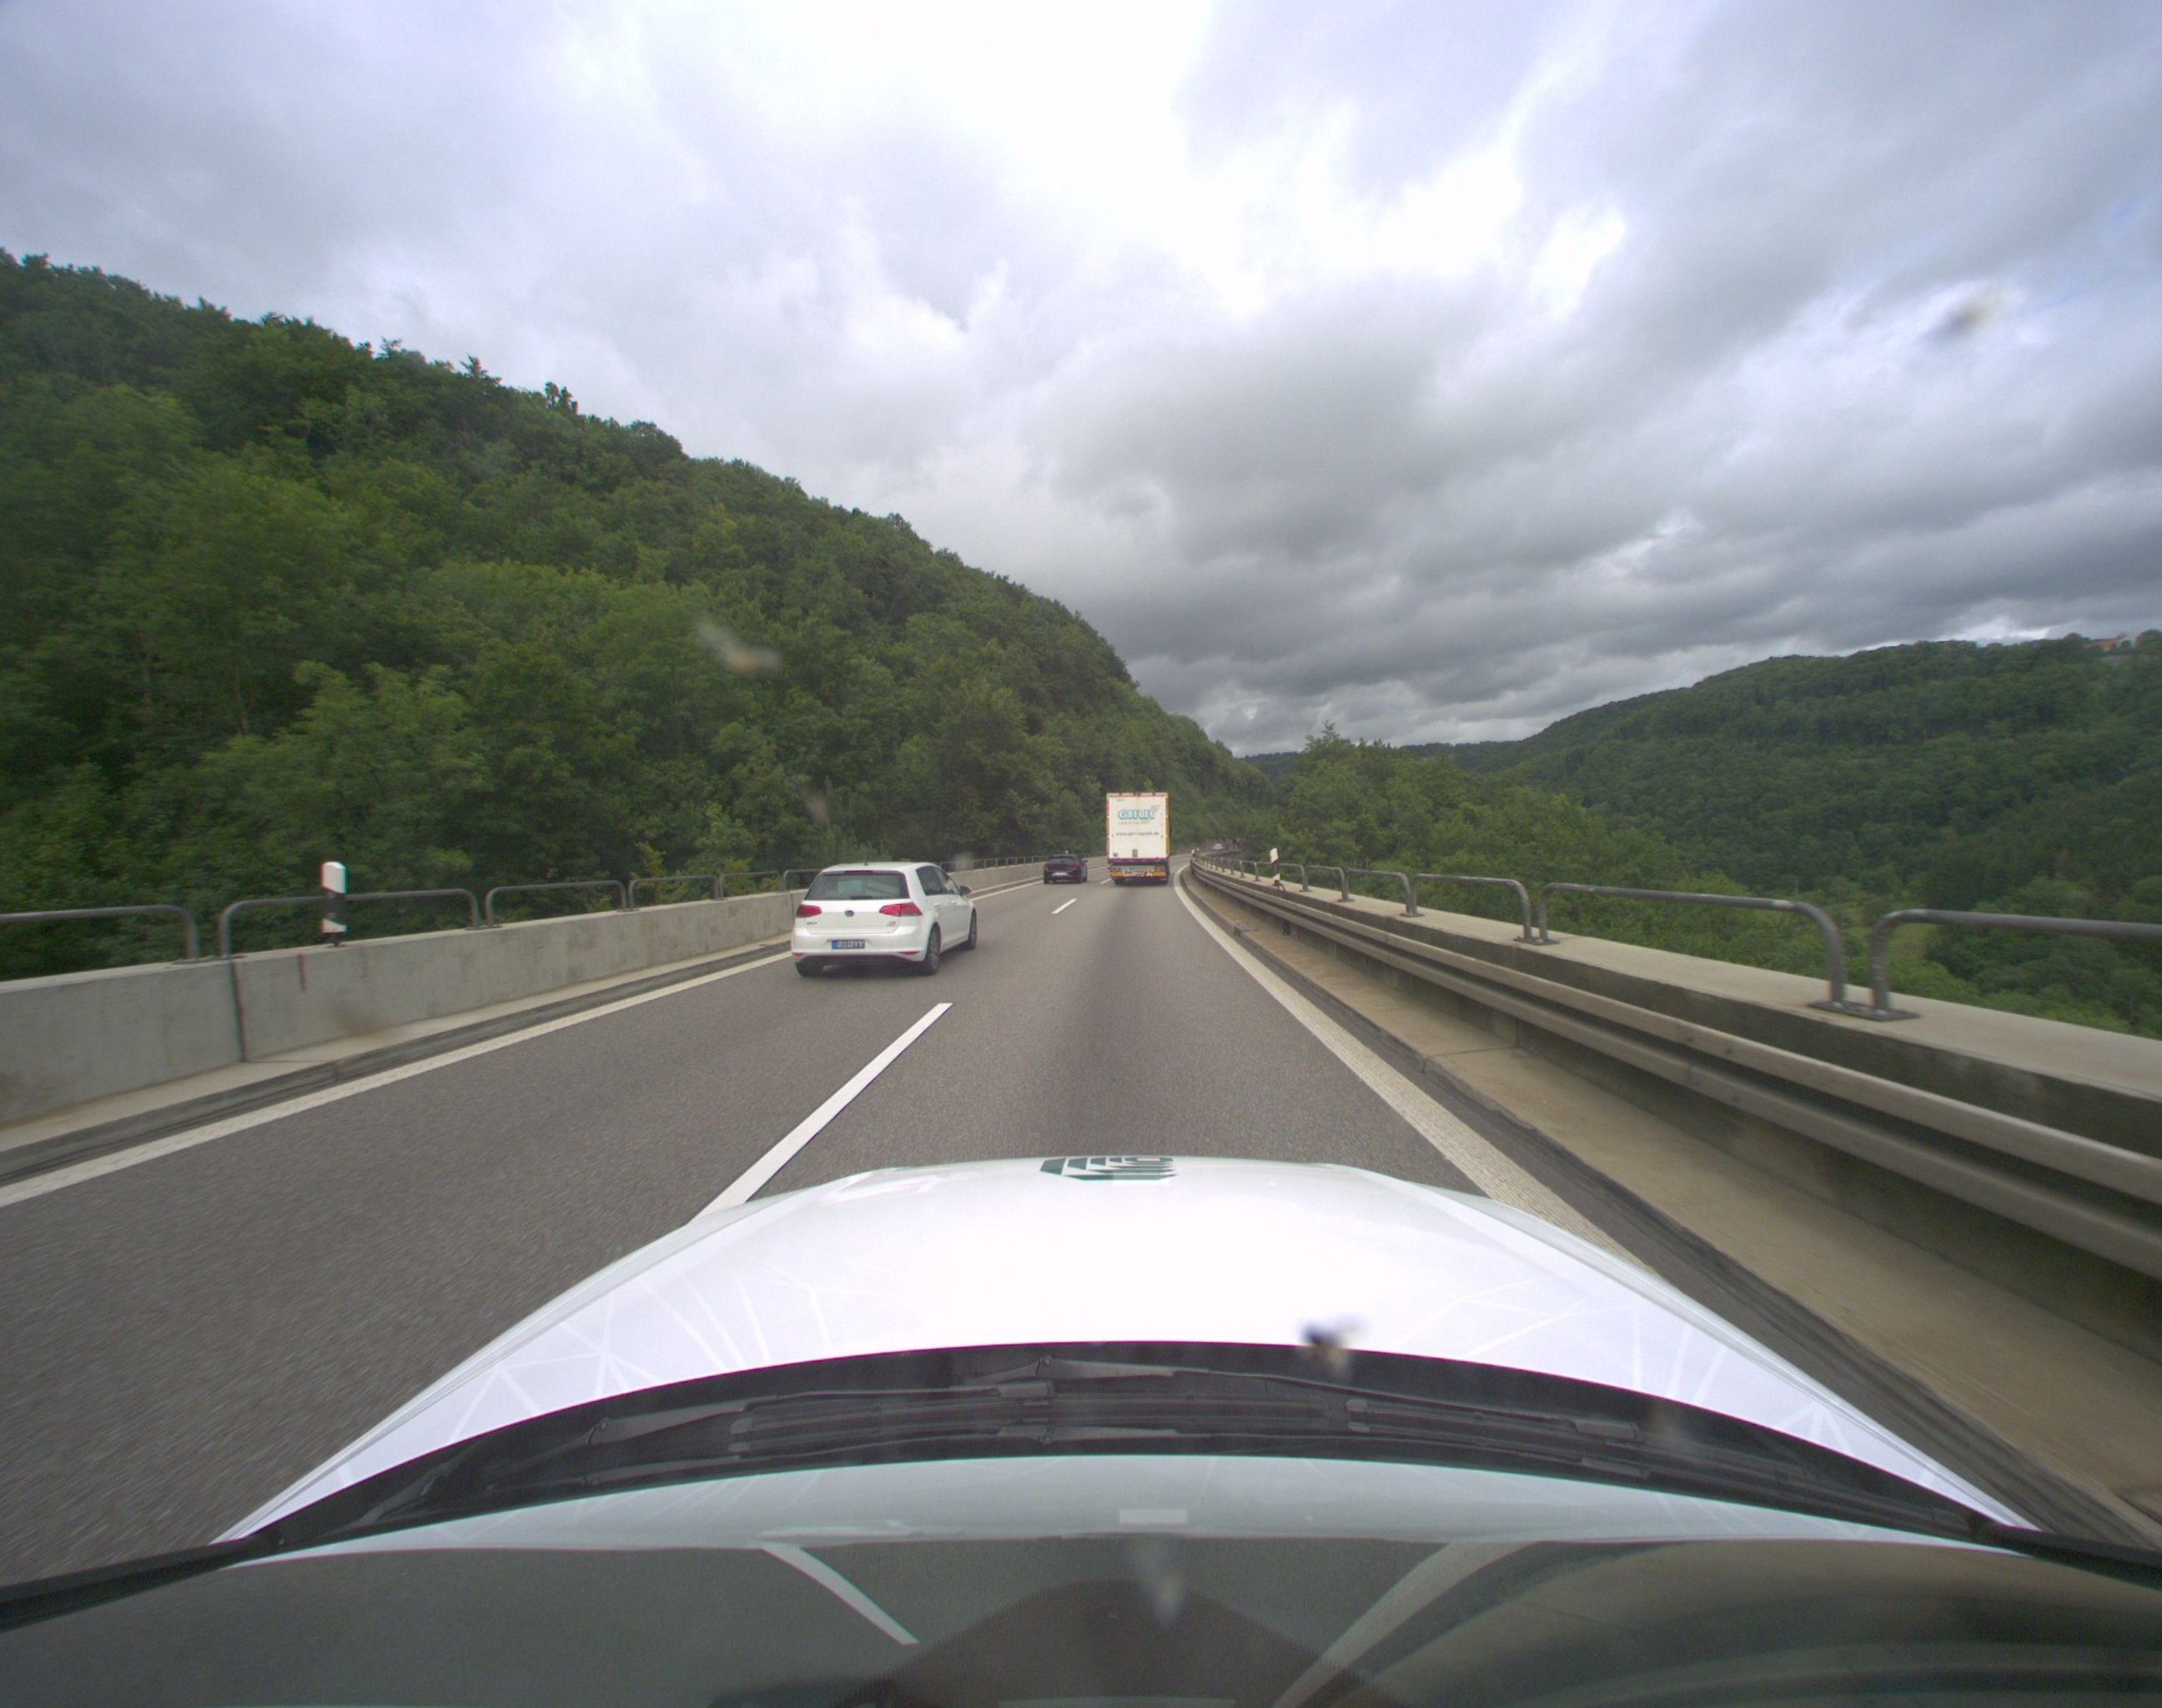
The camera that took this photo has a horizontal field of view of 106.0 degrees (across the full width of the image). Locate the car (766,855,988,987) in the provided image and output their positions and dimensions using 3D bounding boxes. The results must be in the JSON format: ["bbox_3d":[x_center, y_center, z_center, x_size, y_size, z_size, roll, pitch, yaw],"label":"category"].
[{"bbox_3d":[-2.649,0.784,11.804,1.837,1.481,4.631,-1,0,2],"label":"car"}]

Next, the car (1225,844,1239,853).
[{"bbox_3d":[27.906,-1.026,150.714,1.977,1.565,4.018,-2,-1,18],"label":"car"}]

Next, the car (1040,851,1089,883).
[{"bbox_3d":[-0.734,0.605,39.781,1.764,1.461,4.589,-1,0,6],"label":"car"}]

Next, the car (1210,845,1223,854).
[{"bbox_3d":[26.101,-0.865,156.688,1.977,1.565,4.018,-2,-1,18],"label":"car"}]

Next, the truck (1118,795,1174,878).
[{"bbox_3d":[3.778,-0.917,46.259,2.799,4.302,6.269,-2,-1,6],"label":"truck"}]

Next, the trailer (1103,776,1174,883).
[{"bbox_3d":[3.052,-0.962,39.853,2.799,4.302,12.266,-2,-1,6],"label":"trailer"}]
